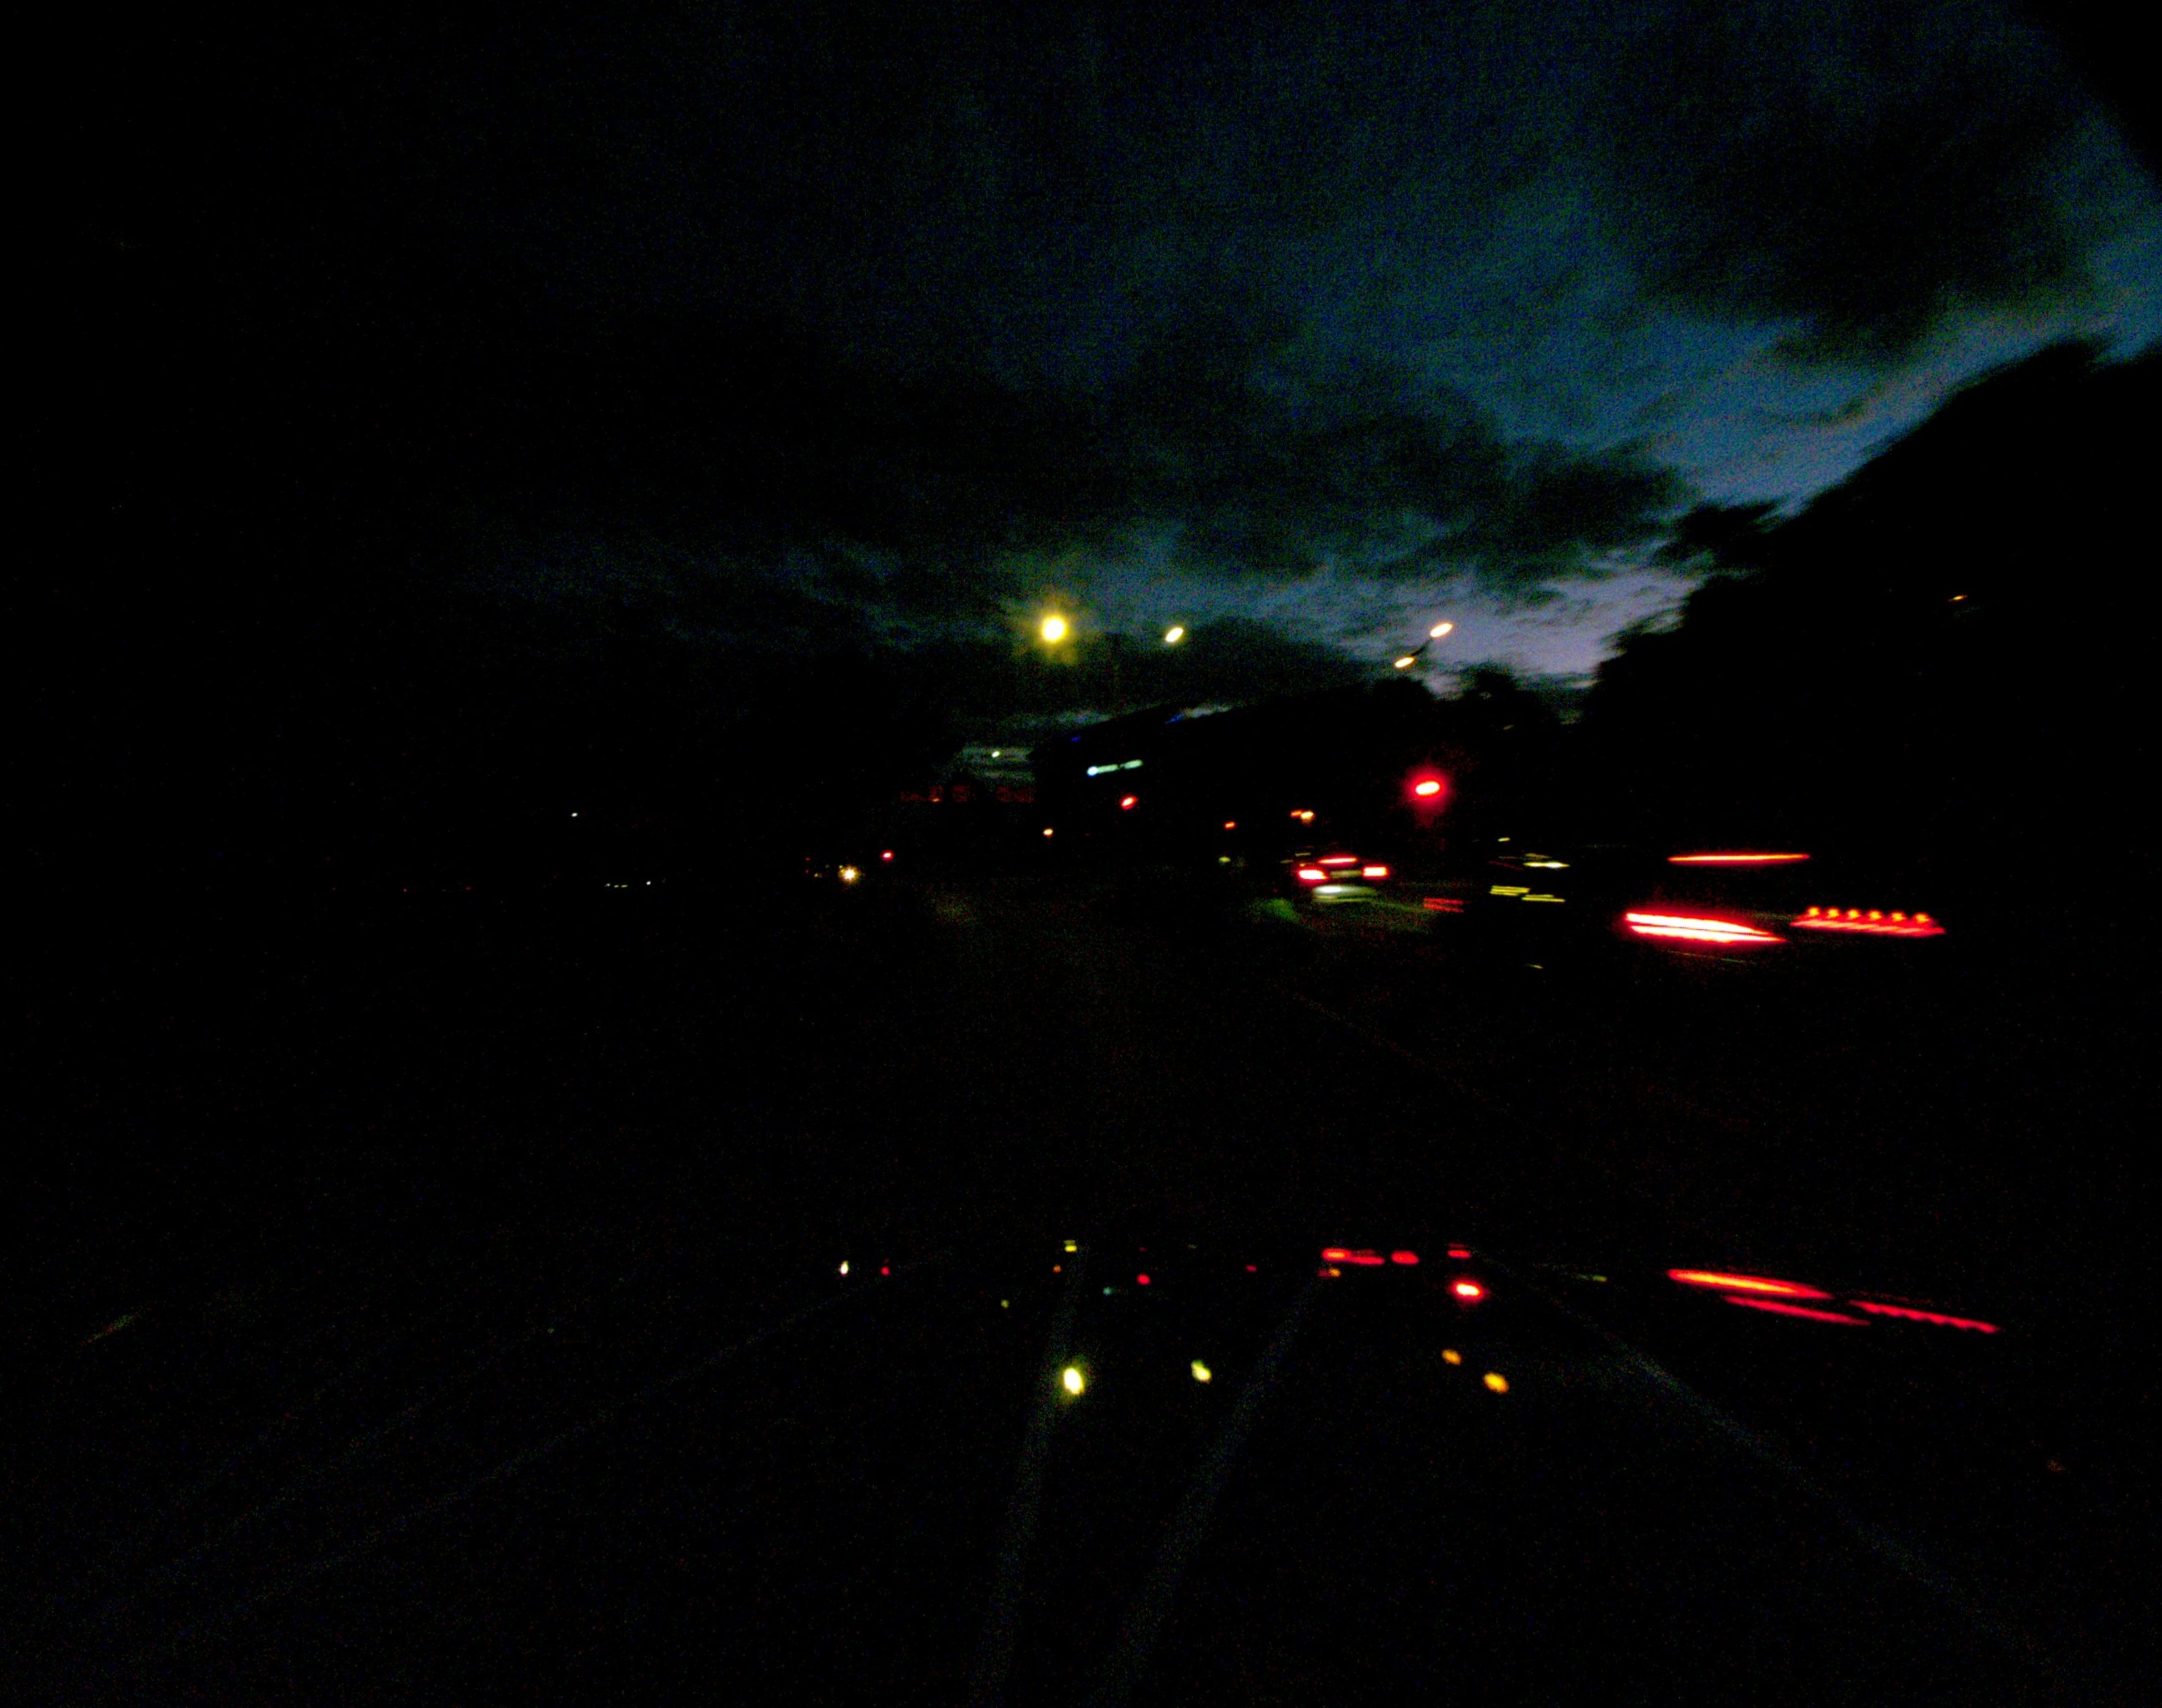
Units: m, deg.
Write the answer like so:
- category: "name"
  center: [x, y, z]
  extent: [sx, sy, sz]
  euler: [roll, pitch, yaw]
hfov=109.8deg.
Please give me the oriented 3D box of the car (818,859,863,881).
- category: "car"
  center: [-19.095, 1.290, 60.190]
  extent: [1.674, 1.643, 4.399]
  euler: [-4, 1, -41]

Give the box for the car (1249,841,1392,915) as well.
- category: "car"
  center: [5.460, 0.468, 18.001]
  extent: [1.764, 1.437, 4.525]
  euler: [-3, 1, -2]

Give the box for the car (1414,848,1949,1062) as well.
- category: "car"
  center: [5.148, 0.686, 7.534]
  extent: [1.763, 1.395, 4.586]
  euler: [-2, 1, 2]
